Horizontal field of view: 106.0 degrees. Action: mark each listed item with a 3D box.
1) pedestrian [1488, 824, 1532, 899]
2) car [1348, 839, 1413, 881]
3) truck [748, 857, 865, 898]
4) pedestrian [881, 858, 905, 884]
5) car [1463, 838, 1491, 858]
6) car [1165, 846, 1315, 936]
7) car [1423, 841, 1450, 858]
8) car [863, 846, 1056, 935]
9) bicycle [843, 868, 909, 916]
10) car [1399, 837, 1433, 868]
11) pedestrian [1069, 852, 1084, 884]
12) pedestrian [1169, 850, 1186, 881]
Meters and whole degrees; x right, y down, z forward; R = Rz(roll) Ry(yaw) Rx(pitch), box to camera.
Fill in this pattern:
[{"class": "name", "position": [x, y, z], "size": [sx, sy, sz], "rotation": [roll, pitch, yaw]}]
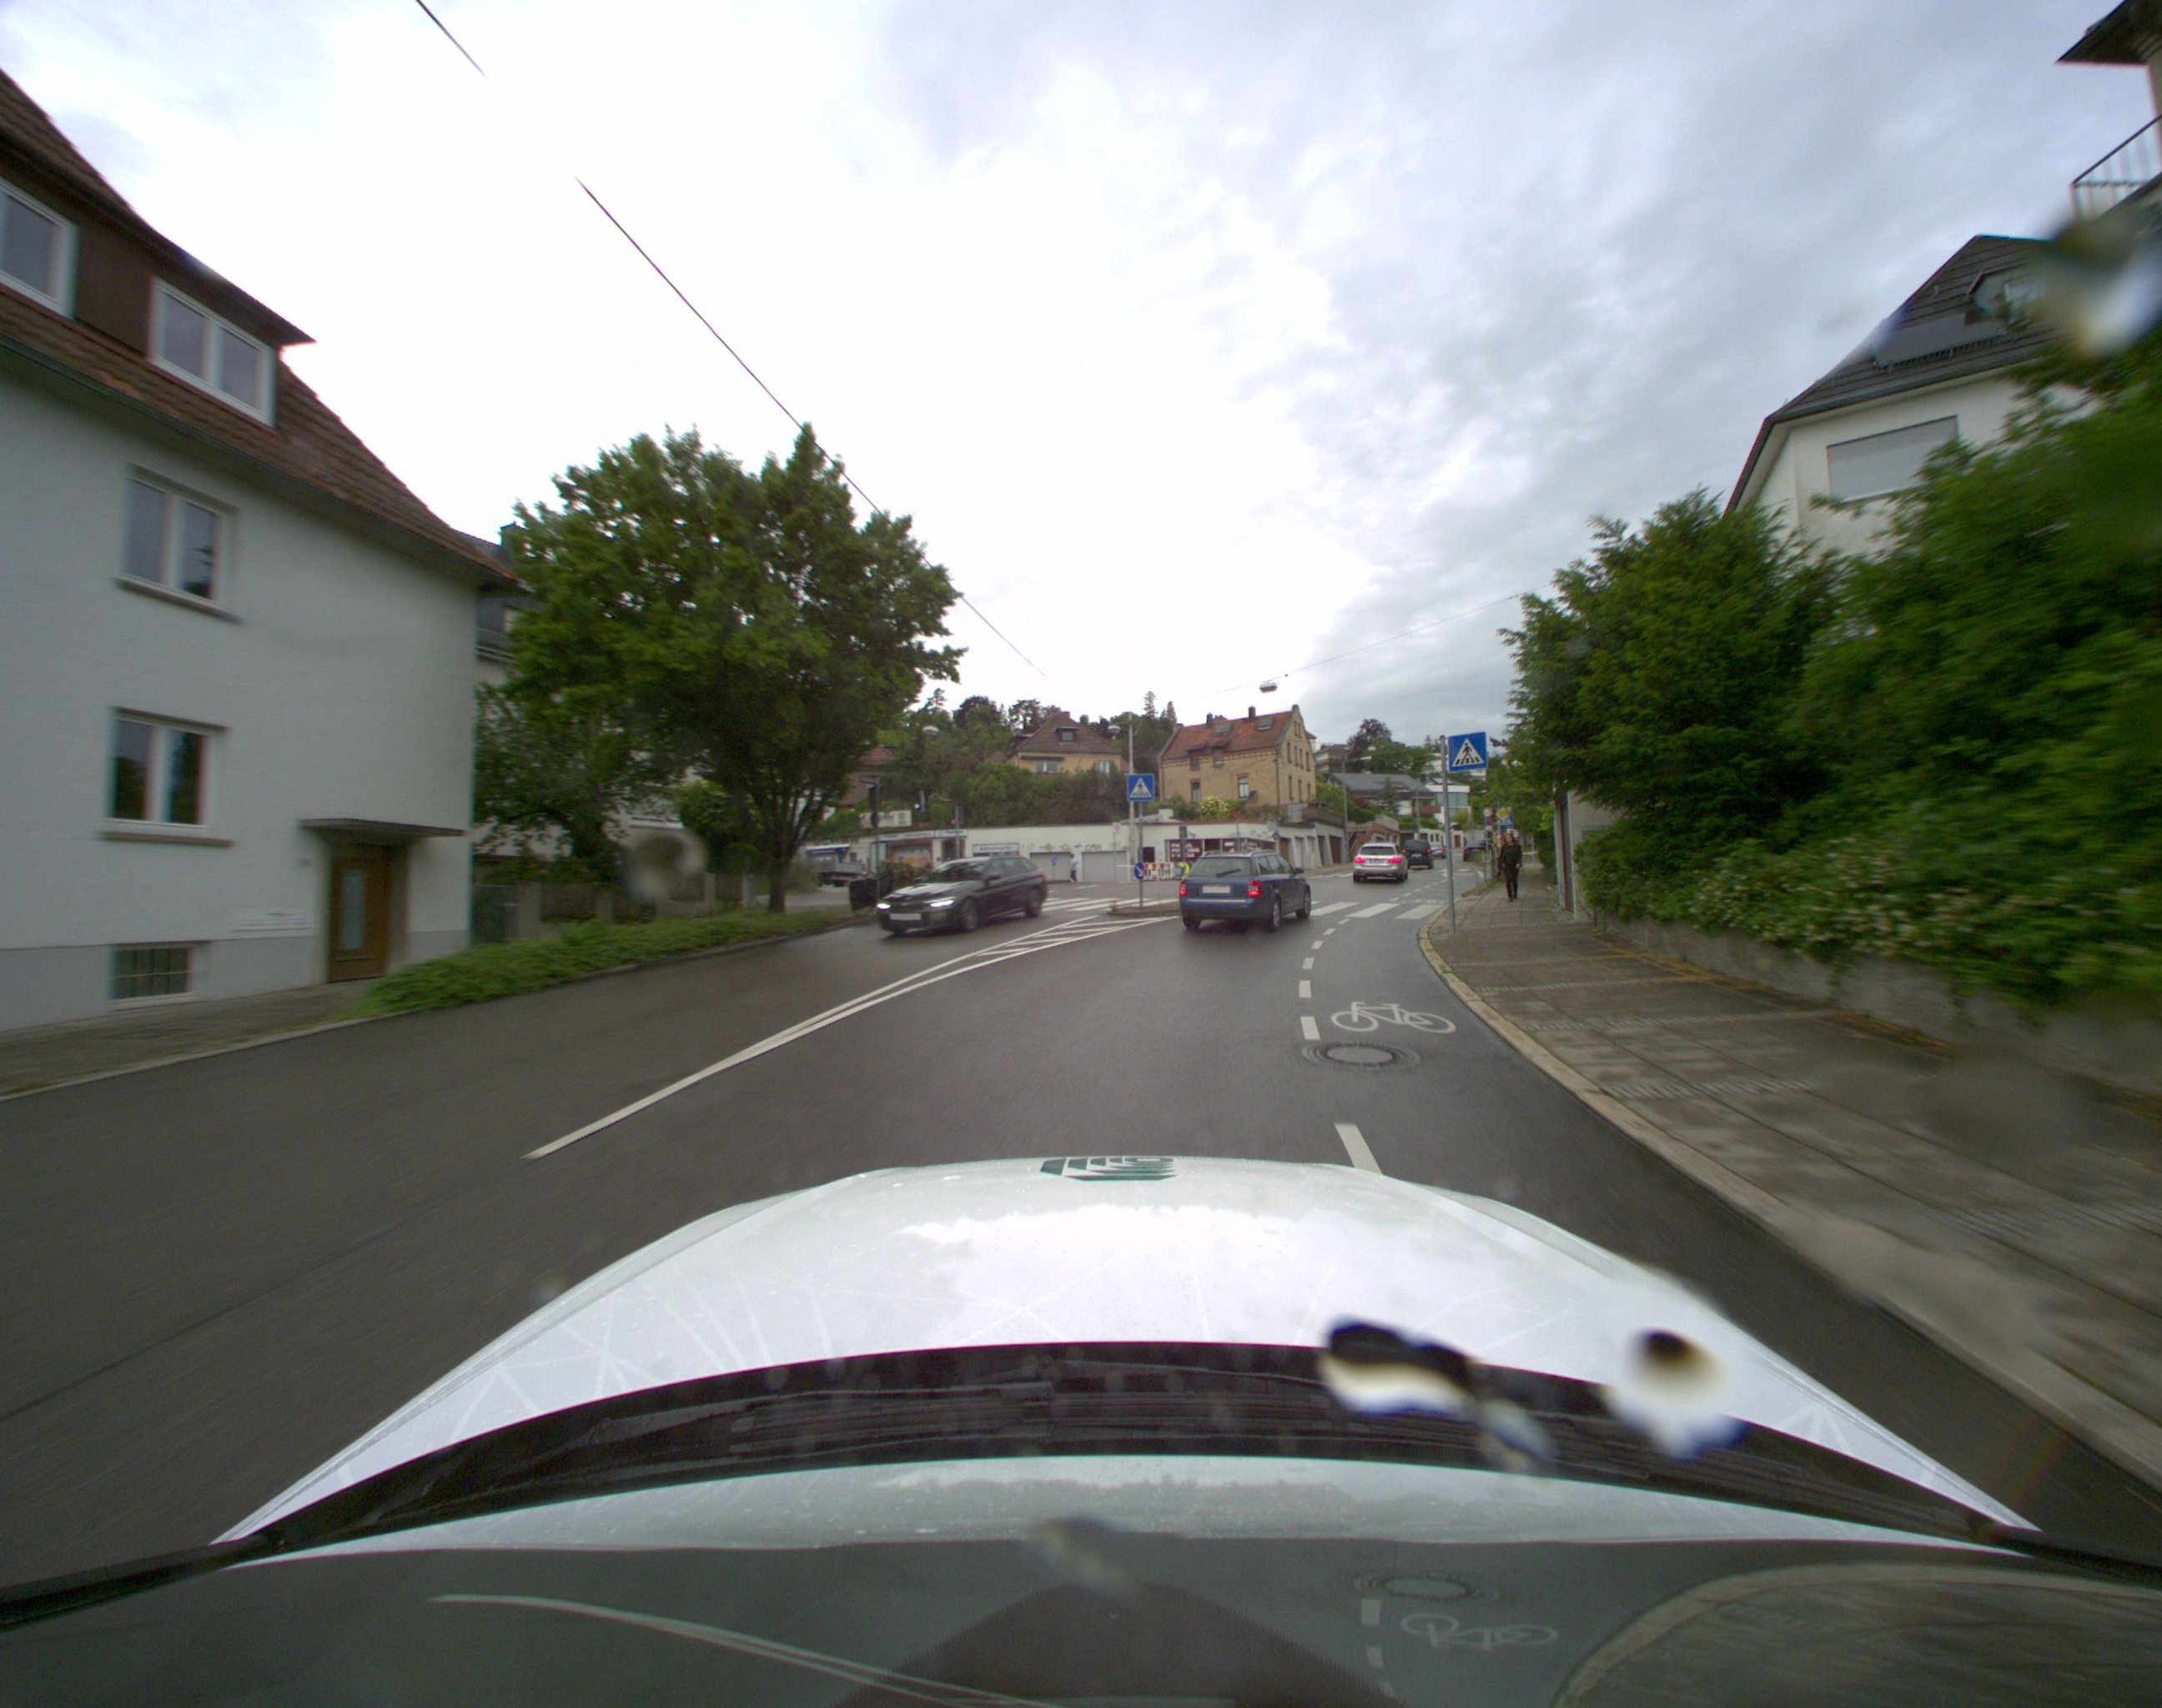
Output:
[{"class": "pedestrian", "position": [10.356, 0.177, 19.634], "size": [0.795, 1.722, 1.067], "rotation": [-5, -2, 29]}, {"class": "car", "position": [11.410, 0.188, 30.845], "size": [1.794, 1.360, 4.025], "rotation": [-1, 2, 27]}, {"class": "truck", "position": [-16.032, 1.341, 47.515], "size": [6.725, 2.269, 2.328], "rotation": [-1, 0, 25]}, {"class": "pedestrian", "position": [-11.041, 1.006, 47.834], "size": [0.966, 1.505, 0.896], "rotation": [0, 1, 28]}, {"class": "car", "position": [29.863, -0.438, 61.318], "size": [1.754, 1.377, 4.375], "rotation": [-2, 0, 27]}, {"class": "car", "position": [3.242, 0.612, 15.900], "size": [1.794, 1.439, 4.106], "rotation": [-1, 1, 27]}, {"class": "car", "position": [29.762, -0.372, 68.105], "size": [1.807, 1.296, 4.024], "rotation": [-2, 0, 26]}, {"class": "car", "position": [-2.426, 0.697, 17.641], "size": [1.853, 1.491, 4.664], "rotation": [-3, 1, 24]}, {"class": "bicycle", "position": [-5.328, 0.965, 21.323], "size": [0.416, 1.085, 1.976], "rotation": [-1, 2, 28]}, {"class": "car", "position": [20.689, -0.116, 50.225], "size": [1.808, 1.819, 4.023], "rotation": [-2, 0, 23]}, {"class": "pedestrian", "position": [-0.249, 0.782, 45.630], "size": [0.701, 1.806, 0.809], "rotation": [-1, 0, 4]}, {"class": "pedestrian", "position": [5.335, 0.650, 44.943], "size": [0.585, 1.689, 0.621], "rotation": [-2, -2, -24]}]
